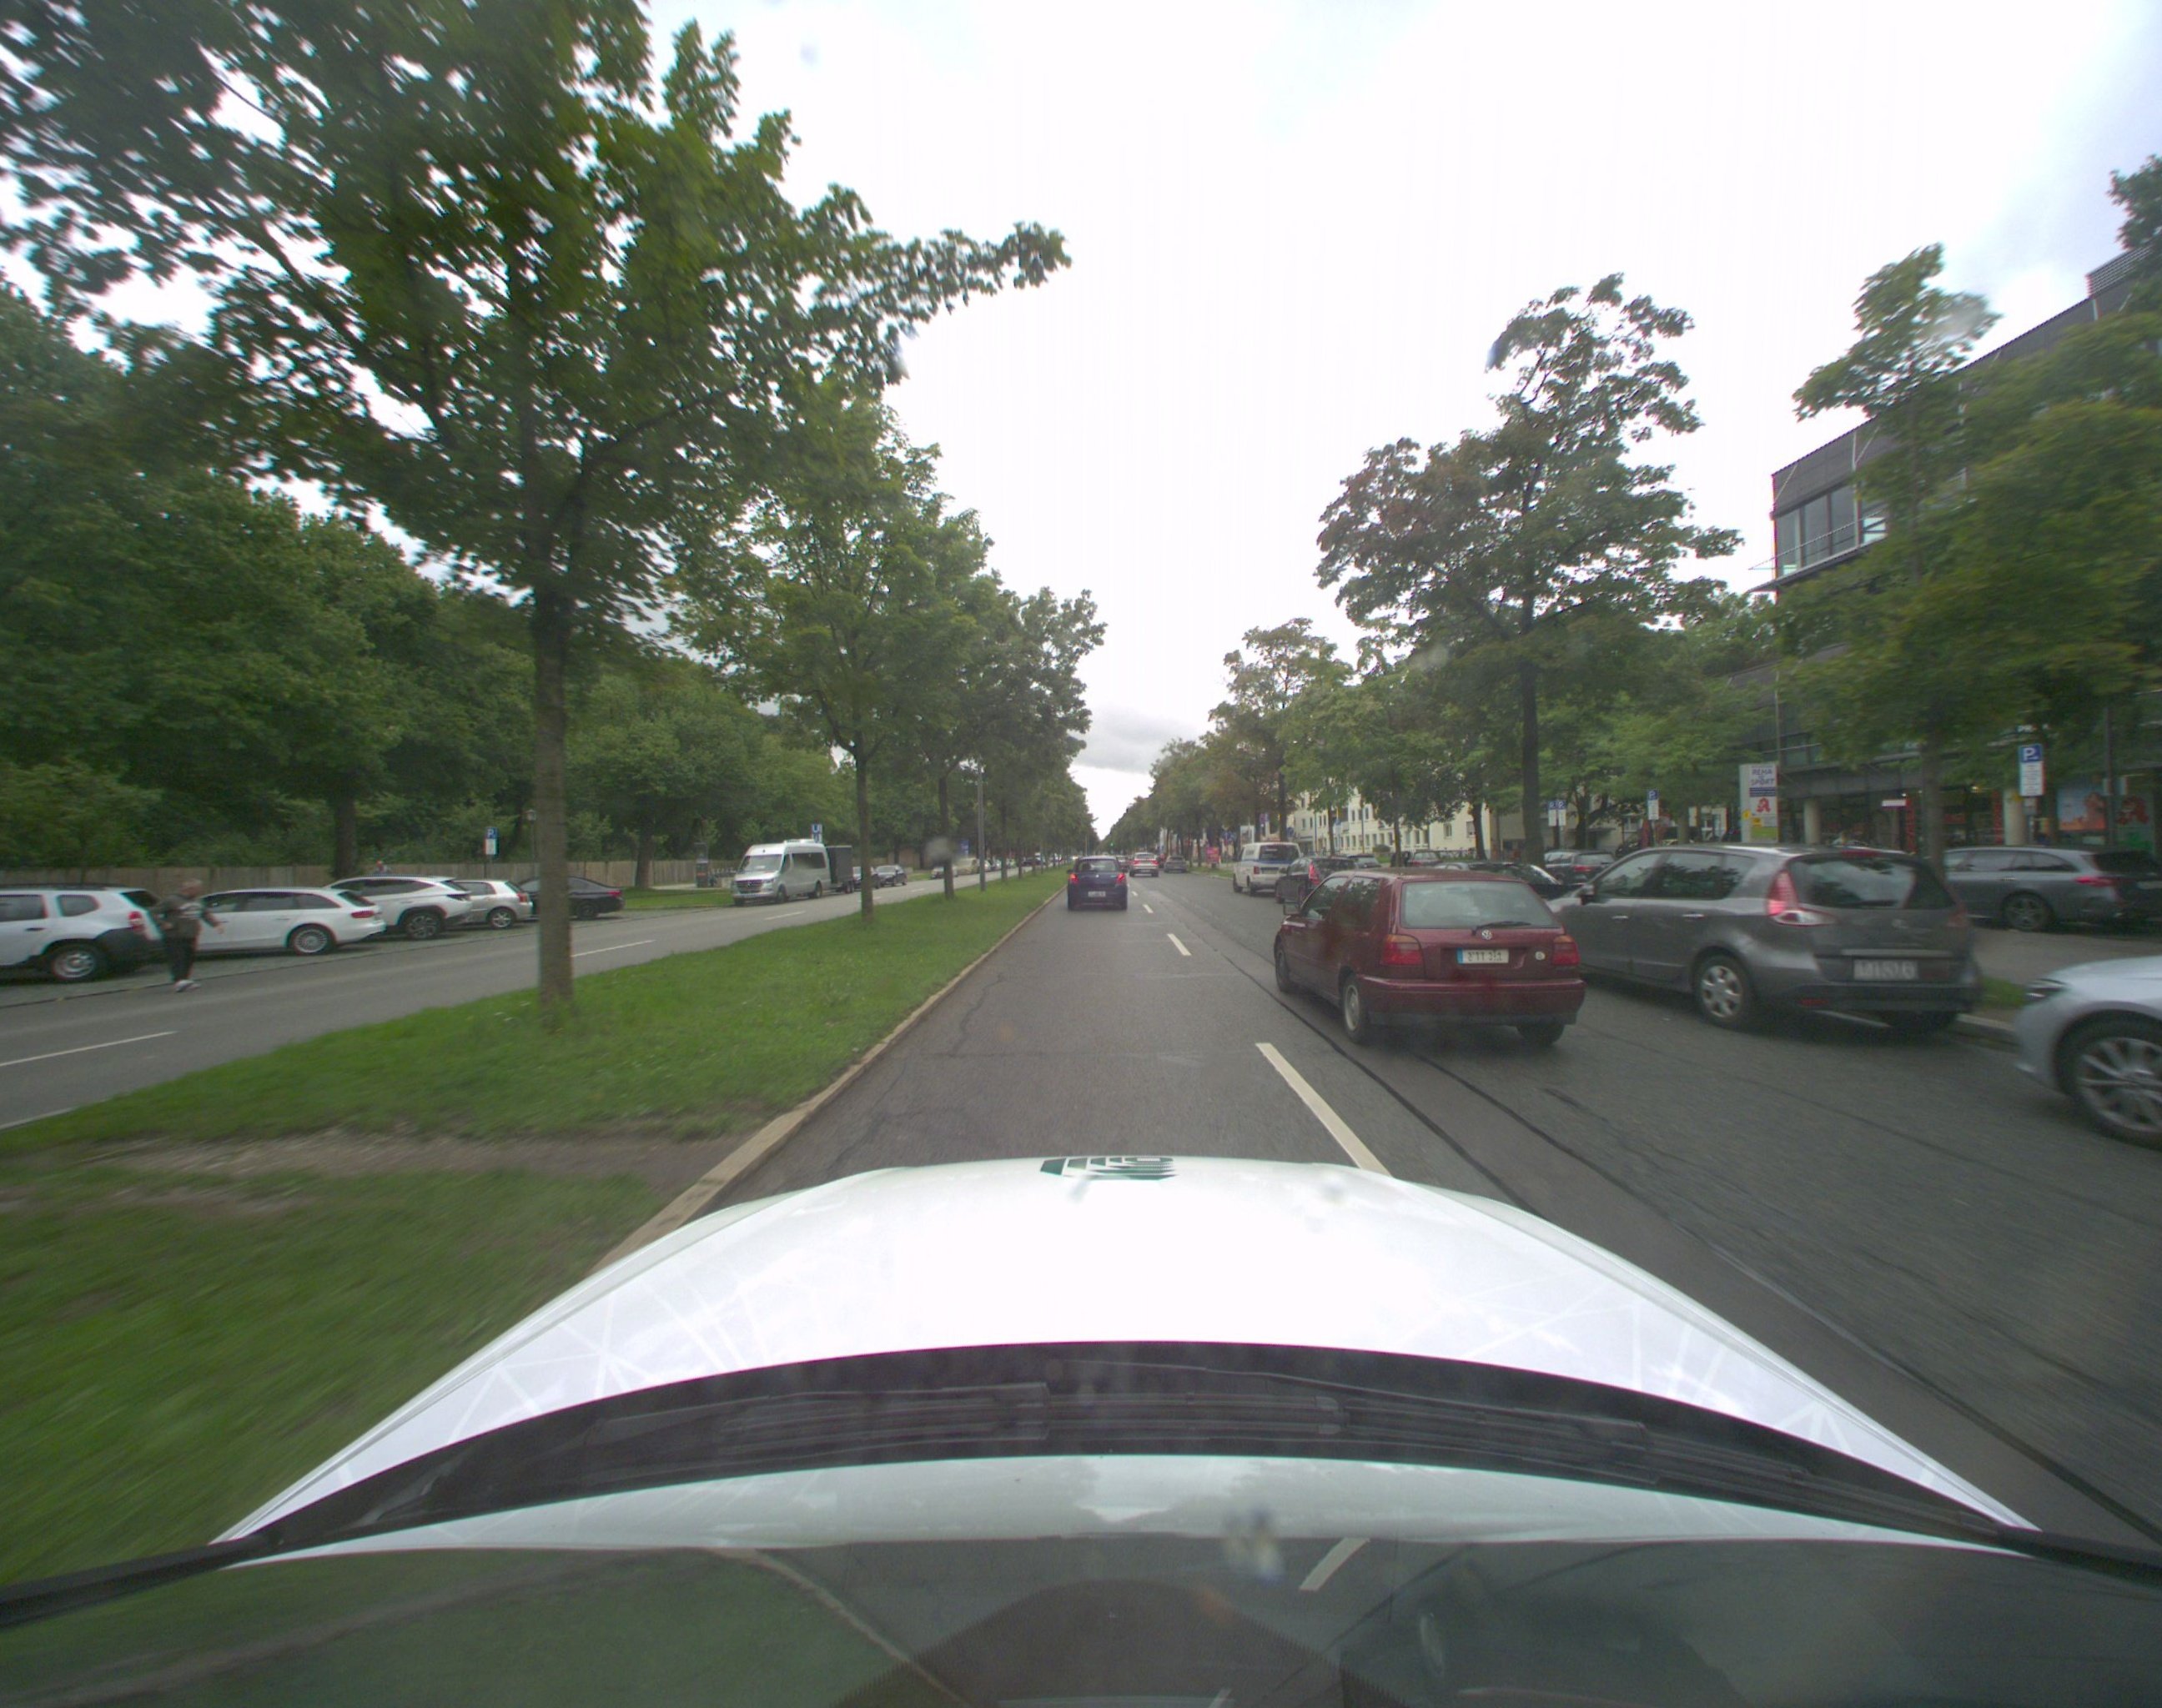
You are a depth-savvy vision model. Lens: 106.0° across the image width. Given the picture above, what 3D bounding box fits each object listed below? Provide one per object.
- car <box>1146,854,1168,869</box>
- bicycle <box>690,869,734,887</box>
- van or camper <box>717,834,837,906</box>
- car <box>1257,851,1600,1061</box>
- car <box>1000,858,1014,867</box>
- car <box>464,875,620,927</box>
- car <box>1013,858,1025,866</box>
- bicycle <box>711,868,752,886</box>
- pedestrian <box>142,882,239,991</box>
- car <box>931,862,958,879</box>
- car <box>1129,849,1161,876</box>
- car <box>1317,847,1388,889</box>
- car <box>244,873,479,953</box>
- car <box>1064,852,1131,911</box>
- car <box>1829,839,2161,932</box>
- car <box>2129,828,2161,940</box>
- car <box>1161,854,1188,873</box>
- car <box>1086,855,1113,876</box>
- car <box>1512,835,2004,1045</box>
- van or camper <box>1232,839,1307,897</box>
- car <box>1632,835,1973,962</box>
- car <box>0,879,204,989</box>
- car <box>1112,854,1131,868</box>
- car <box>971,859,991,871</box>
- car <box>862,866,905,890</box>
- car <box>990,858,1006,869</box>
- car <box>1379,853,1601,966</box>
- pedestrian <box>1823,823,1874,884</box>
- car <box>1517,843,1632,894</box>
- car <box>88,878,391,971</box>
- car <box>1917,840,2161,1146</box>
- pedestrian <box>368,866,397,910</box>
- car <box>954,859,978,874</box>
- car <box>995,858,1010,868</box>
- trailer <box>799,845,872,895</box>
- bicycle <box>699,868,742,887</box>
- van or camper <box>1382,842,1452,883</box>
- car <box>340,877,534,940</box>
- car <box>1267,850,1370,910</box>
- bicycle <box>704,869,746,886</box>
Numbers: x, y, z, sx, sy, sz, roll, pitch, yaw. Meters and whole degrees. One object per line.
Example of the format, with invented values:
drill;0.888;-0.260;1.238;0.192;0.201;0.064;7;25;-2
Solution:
car;7.658;0.765;82.564;1.844;1.447;4.097;-1;0;0
bicycle;-23.489;1.525;51.856;2.489;1.144;0.724;0;0;3
van or camper;-13.482;0.652;36.805;2.301;2.833;7.496;-2;0;2
car;2.901;0.724;7.773;1.616;1.454;3.950;-1;0;1
car;-11.725;1.313;129.961;1.844;1.447;4.097;-1;0;0
car;-17.423;1.464;26.549;4.122;1.474;1.687;0;-1;-32
car;-11.122;1.472;147.062;1.844;1.447;4.097;-1;0;0
bicycle;-23.326;1.522;54.333;2.489;1.144;0.655;0;0;3
pedestrian;-13.849;1.256;12.690;0.724;1.612;0.678;-2;0;-7
car;-12.616;1.473;75.518;1.844;1.447;4.097;-1;0;0
car;4.433;0.581;56.701;1.844;1.743;4.097;-1;0;0
car;11.133;0.549;33.663;1.678;1.585;4.029;-1;0;1
car;-17.792;1.382;20.460;4.122;1.652;1.900;-2;0;-32
car;0.446;0.757;24.110;1.783;1.555;3.999;-1;0;0
car;16.715;0.496;15.000;1.680;1.435;4.378;-1;0;-3
car;16.659;0.416;10.099;1.679;1.632;4.382;-1;0;0
car;7.847;0.771;68.708;1.844;1.447;4.097;-1;0;0
car;1.333;0.812;60.373;1.844;1.447;4.097;-1;0;0
car;6.381;0.665;8.471;1.677;1.626;4.309;0;0;2
van or camper;6.954;0.485;30.529;1.937;1.975;4.308;-1;0;2
car;10.595;0.573;12.433;1.678;1.585;4.029;-1;0;1
car;-18.186;1.359;13.804;4.122;1.695;1.900;-2;0;-32
car;4.309;0.760;87.219;1.844;1.447;4.097;-1;0;0
car;-12.192;1.331;99.370;1.844;1.447;4.097;-1;0;0
car;-13.113;1.586;54.257;1.844;1.447;4.097;-1;0;0
car;-11.821;1.321;116.135;1.844;1.447;4.097;-1;0;0
car;6.553;0.779;13.631;1.677;1.553;4.309;-1;0;2
pedestrian;21.866;-0.012;23.226;0.745;1.706;0.702;-2;0;1
car;16.799;0.451;27.950;1.677;1.585;4.031;-1;0;4
car;-17.656;1.405;17.433;4.122;1.585;1.900;-2;0;-32
car;6.185;0.693;3.049;1.677;1.525;4.458;0;0;2
pedestrian;-26.238;1.250;30.589;0.682;1.612;0.685;-1;0;-30
car;-12.145;1.331;86.218;1.844;1.447;4.097;-1;0;0
car;-11.732;1.318;121.655;1.844;1.447;4.097;-1;0;0
trailer;-13.283;0.815;44.474;2.098;2.540;5.579;-2;0;2
bicycle;-23.401;1.524;52.854;2.489;1.144;0.708;0;0;3
van or camper;17.251;0.422;42.013;1.937;1.975;4.308;-1;0;2
car;-18.215;1.486;23.306;4.122;1.474;1.900;-2;0;-32
car;6.849;0.701;23.968;1.679;1.553;4.304;-1;0;-1
bicycle;-23.387;1.549;53.551;2.489;1.144;0.601;0;0;3
